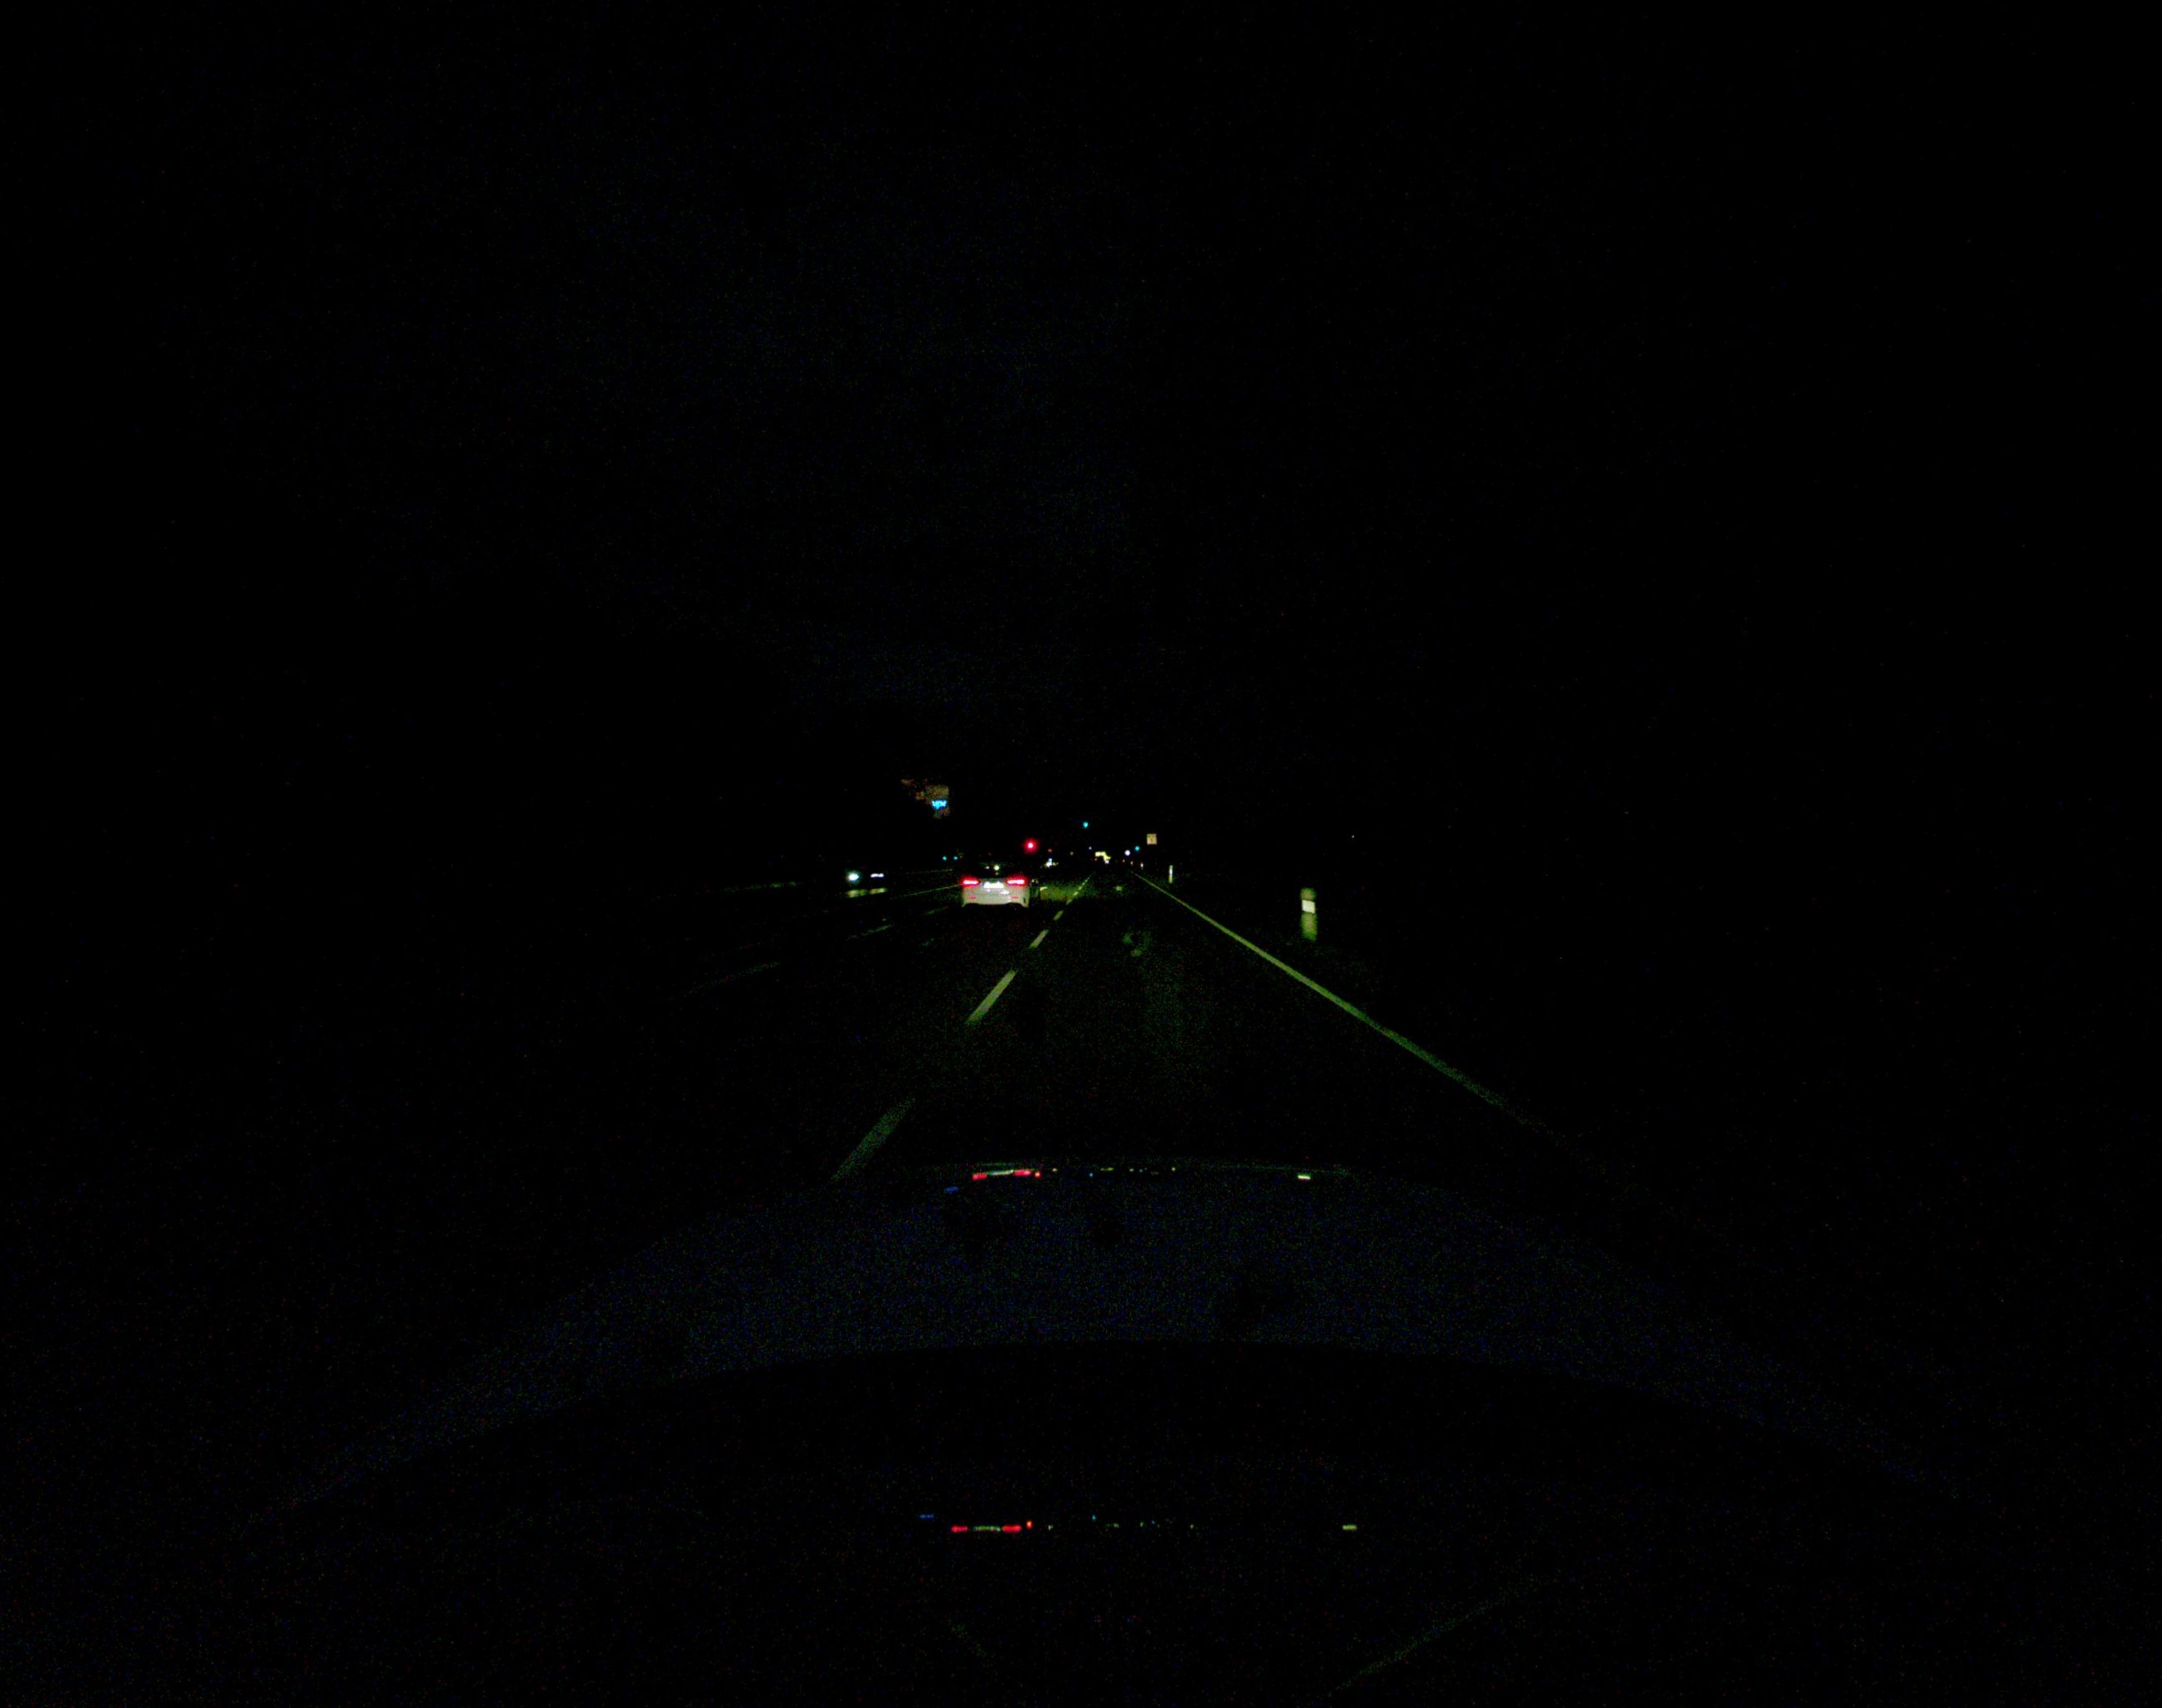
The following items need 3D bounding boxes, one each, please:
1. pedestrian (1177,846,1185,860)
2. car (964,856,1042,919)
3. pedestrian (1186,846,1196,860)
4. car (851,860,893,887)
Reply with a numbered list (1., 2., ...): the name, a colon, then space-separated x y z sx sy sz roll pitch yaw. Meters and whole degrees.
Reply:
1. pedestrian: 13.135 -0.114 106.885 0.918 1.793 1.106 -1 0 2
2. car: -2.038 0.832 22.426 1.636 1.490 4.580 -1 0 1
3. pedestrian: 14.369 -0.117 106.529 1.087 1.723 1.260 -1 -1 1
4. car: -13.992 1.276 54.784 1.607 1.723 4.316 -1 0 1
